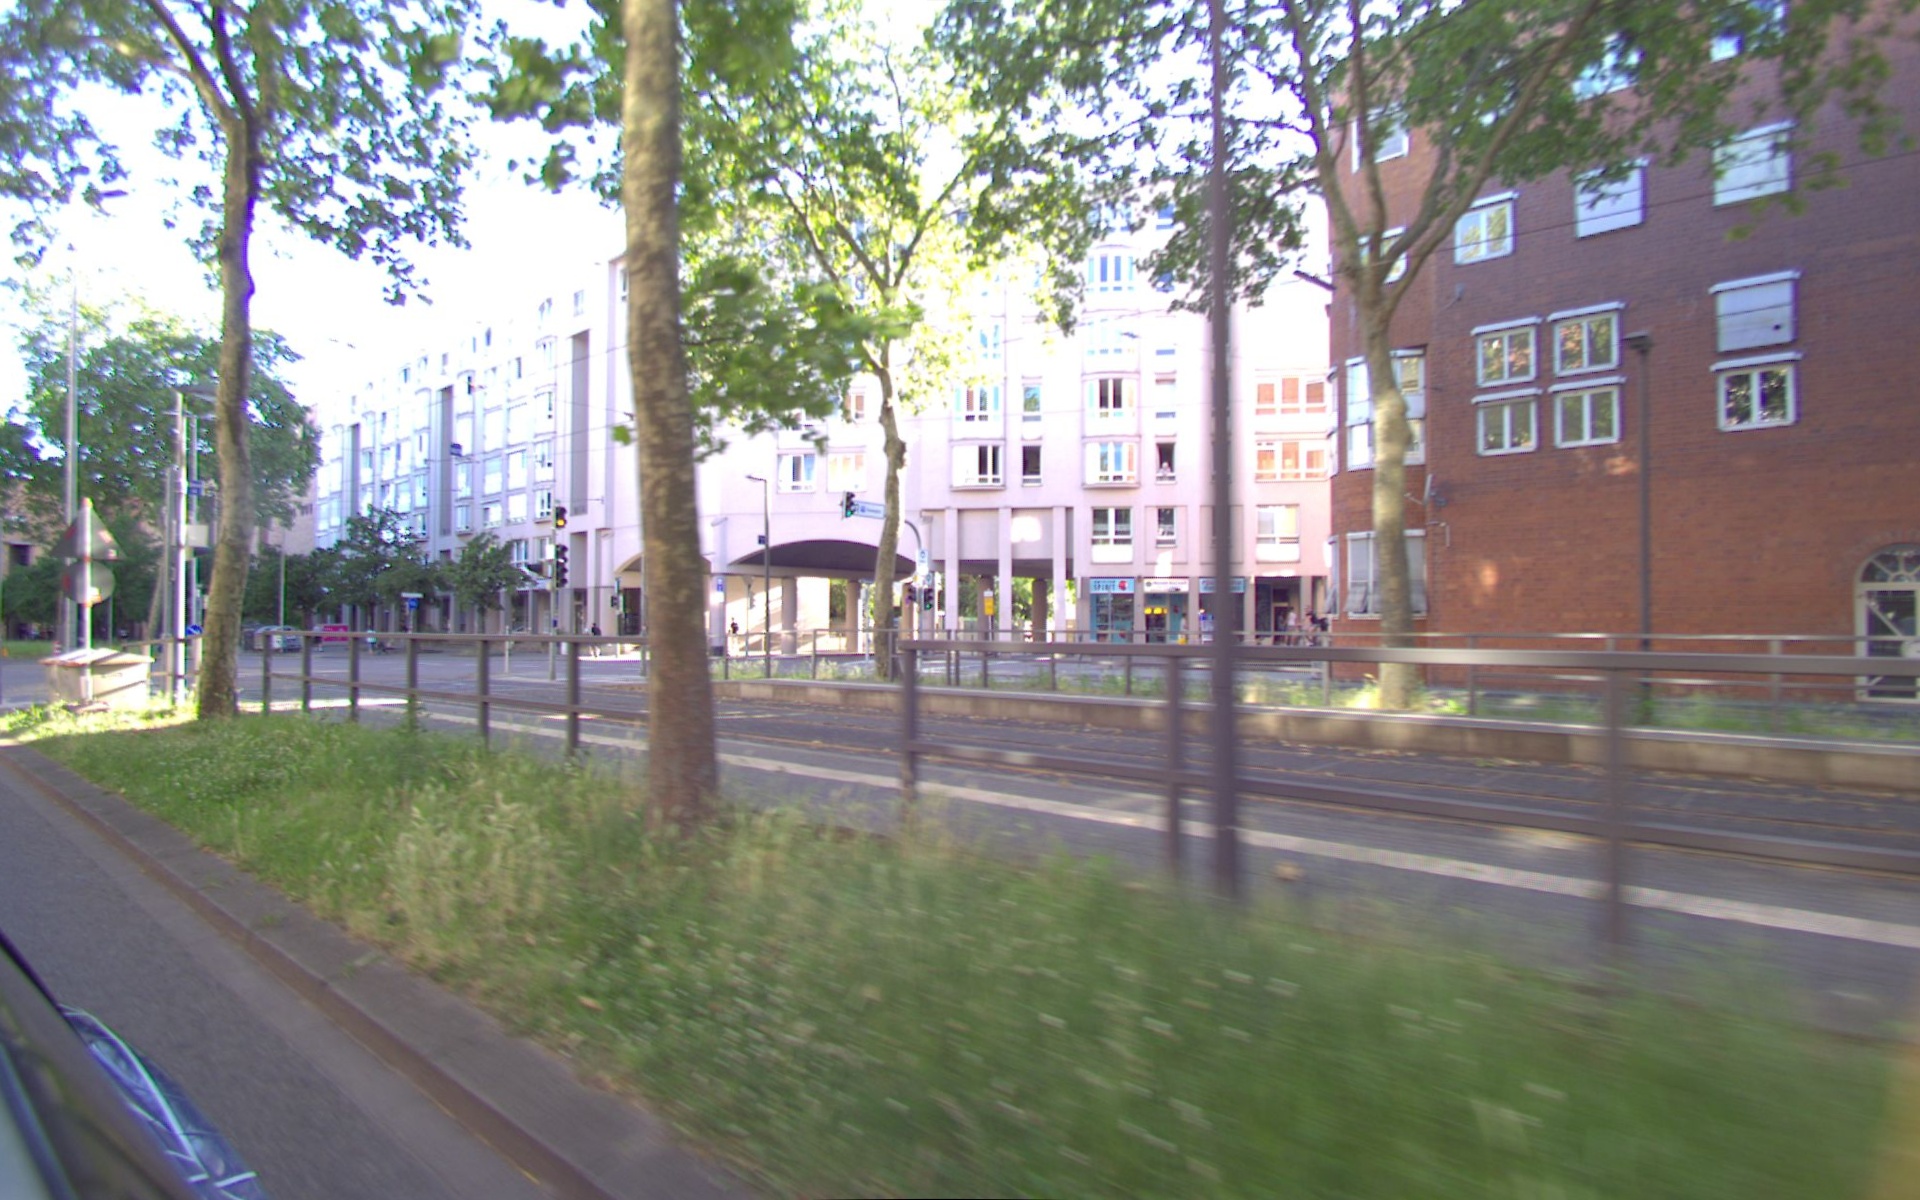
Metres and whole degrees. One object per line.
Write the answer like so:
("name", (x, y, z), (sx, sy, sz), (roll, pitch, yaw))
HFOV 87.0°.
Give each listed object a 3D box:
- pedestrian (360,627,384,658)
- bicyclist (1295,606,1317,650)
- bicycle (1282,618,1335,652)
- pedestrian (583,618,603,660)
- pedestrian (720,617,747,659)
("pedestrian", (-32.231, 2.330, 55.484), (0.992, 1.613, 0.877), (-1, 0, -43))
("bicyclist", (13.246, 1.049, 38.771), (0.661, 1.661, 0.716), (-1, 0, 11))
("bicycle", (13.321, 1.322, 38.752), (1.799, 1.271, 0.771), (-1, 0, 11))
("pedestrian", (-18.230, 1.939, 50.273), (0.861, 2.029, 1.010), (-1, 0, -18))
("pedestrian", (-11.129, 1.846, 49.697), (0.862, 2.029, 1.008), (-1, 0, -42))
